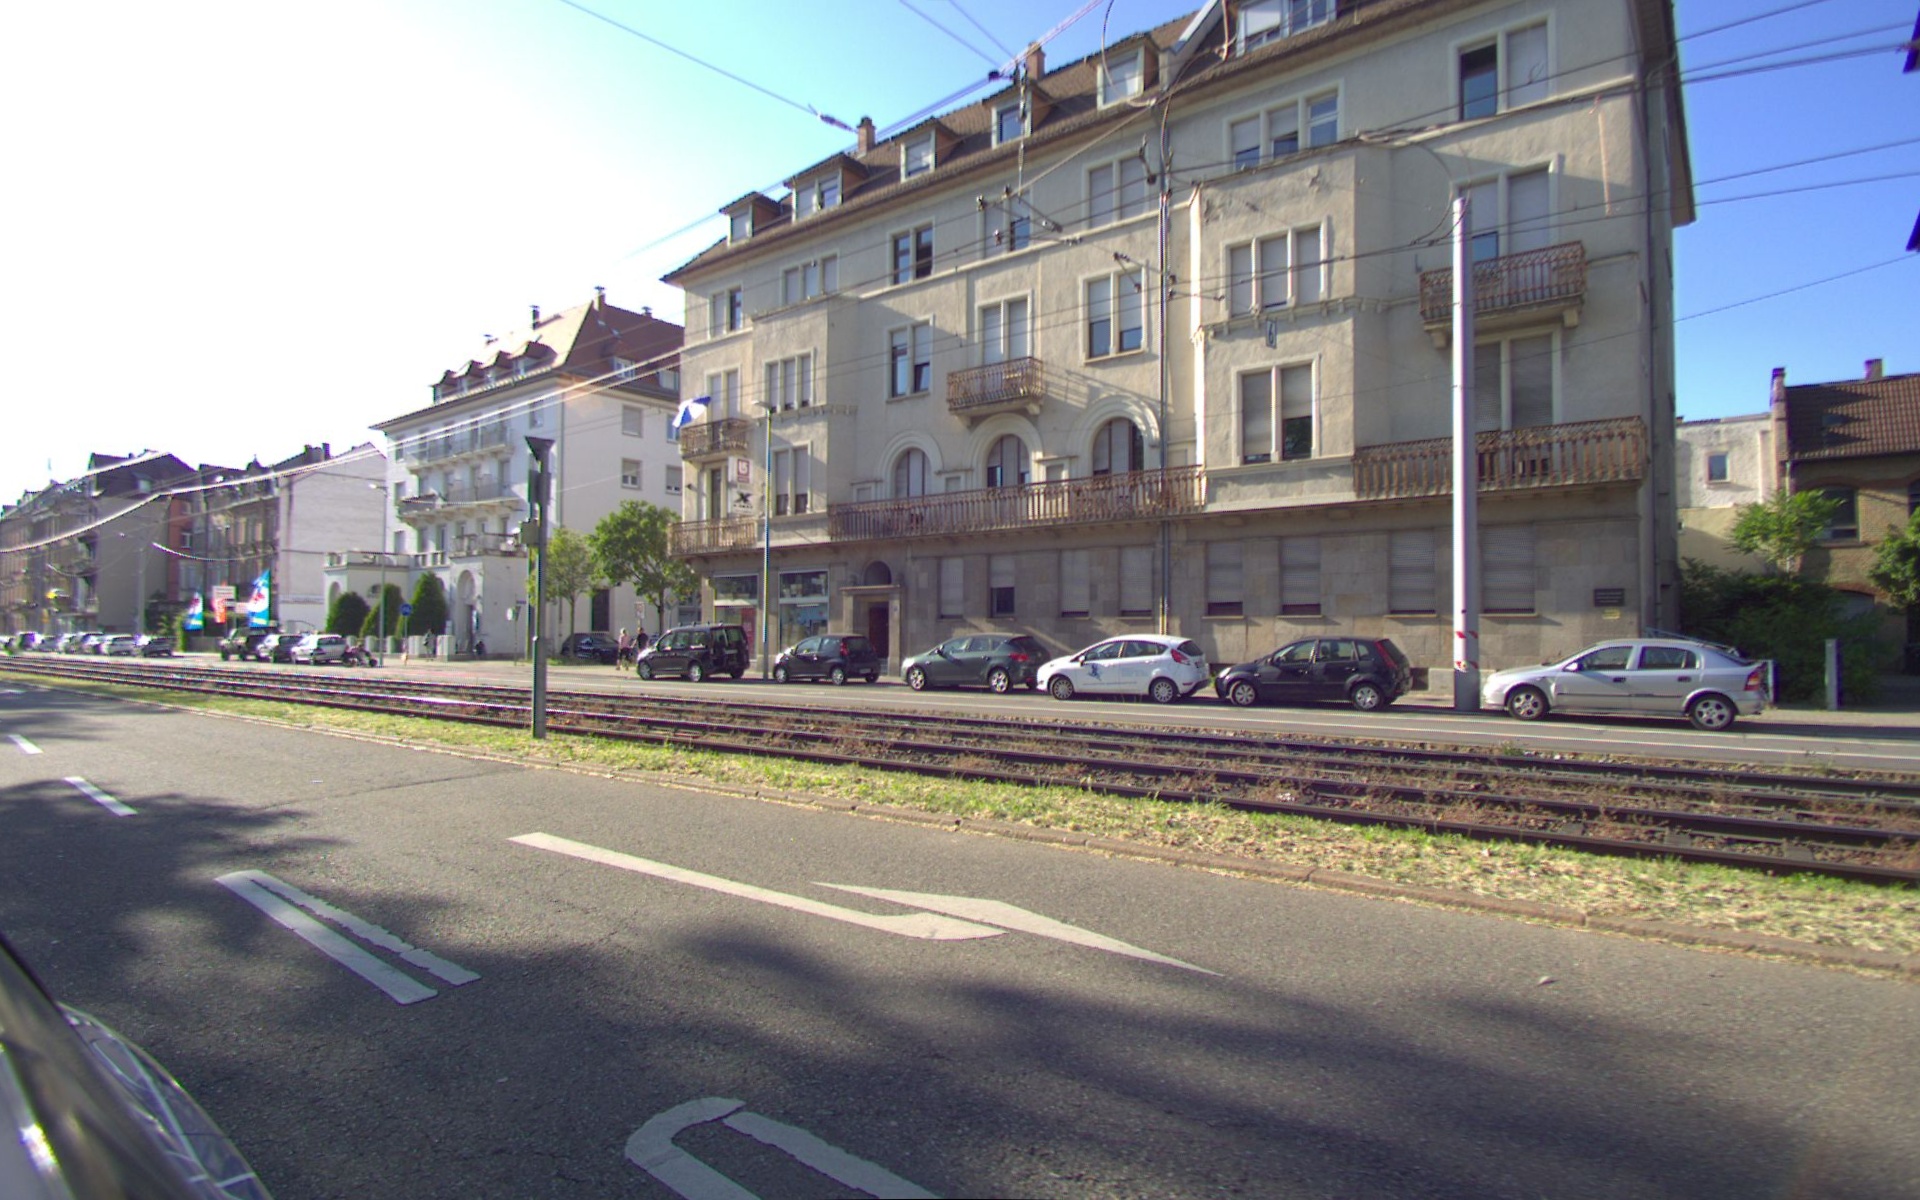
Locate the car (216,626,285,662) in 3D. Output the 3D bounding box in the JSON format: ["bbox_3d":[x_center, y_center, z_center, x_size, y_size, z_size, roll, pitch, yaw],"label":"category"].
[{"bbox_3d":[-42.552,2.605,60.658,5.588,2.025,2.056,-2,-1,40],"label":"car"}]

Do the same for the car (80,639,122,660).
[{"bbox_3d":[-69.762,4.023,82.179,4.839,1.572,1.901,-3,0,41],"label":"car"}]

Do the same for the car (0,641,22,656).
[{"bbox_3d":[-98.041,4.981,104.158,3.976,1.457,1.643,-2,-1,39],"label":"car"}]

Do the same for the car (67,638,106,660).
[{"bbox_3d":[-74.133,4.140,85.879,4.496,1.794,1.900,-2,-1,41],"label":"car"}]

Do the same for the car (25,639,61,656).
[{"bbox_3d":[-88.424,4.516,97.575,4.622,1.550,1.902,-2,-2,39],"label":"car"}]

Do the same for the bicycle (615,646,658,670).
[{"bbox_3d":[-14.535,2.576,45.398,2.411,1.023,0.677,-2,-1,41],"label":"bicycle"}]

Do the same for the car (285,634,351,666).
[{"bbox_3d":[-33.738,2.598,53.139,3.996,1.522,1.776,-1,0,40],"label":"car"}]

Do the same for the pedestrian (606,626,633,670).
[{"bbox_3d":[-13.447,1.887,39.945,0.852,1.709,0.586,-1,0,25],"label":"pedestrian"}]

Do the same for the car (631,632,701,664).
[{"bbox_3d":[-16.638,2.711,57.238,3.995,1.671,1.777,0,-2,38],"label":"car"}]

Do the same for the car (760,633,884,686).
[{"bbox_3d":[-4.133,1.743,30.141,3.503,1.401,1.612,-2,0,37],"label":"car"}]

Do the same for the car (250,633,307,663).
[{"bbox_3d":[-38.002,2.647,56.413,4.156,1.518,1.618,-1,0,41],"label":"car"}]

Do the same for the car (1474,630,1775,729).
[{"bbox_3d":[11.345,1.299,17.450,4.154,1.480,1.619,-2,-2,39],"label":"car"}]

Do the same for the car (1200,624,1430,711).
[{"bbox_3d":[7.219,1.334,20.737,4.148,1.479,1.622,-2,3,34],"label":"car"}]

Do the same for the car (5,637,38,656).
[{"bbox_3d":[-93.684,4.635,101.012,4.720,1.821,1.644,-2,-1,37],"label":"car"}]

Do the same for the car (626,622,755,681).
[{"bbox_3d":[-8.981,1.697,33.592,4.394,1.800,1.845,-2,-1,38],"label":"car"}]

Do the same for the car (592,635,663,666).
[{"bbox_3d":[-18.176,2.725,55.282,3.995,1.522,1.777,0,-2,38],"label":"car"}]

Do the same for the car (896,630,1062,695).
[{"bbox_3d":[0.437,1.558,26.226,4.153,1.480,1.620,-2,1,38],"label":"car"}]

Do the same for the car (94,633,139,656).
[{"bbox_3d":[-65.392,3.448,78.409,4.839,1.707,1.901,-2,-1,41],"label":"car"}]

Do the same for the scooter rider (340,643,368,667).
[{"bbox_3d":[-28.925,2.628,48.309,0.962,1.097,0.810,1,-3,-20],"label":"scooter rider"}]

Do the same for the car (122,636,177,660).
[{"bbox_3d":[-58.128,3.409,72.573,4.833,1.471,1.903,-2,2,37],"label":"car"}]

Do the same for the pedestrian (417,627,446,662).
[{"bbox_3d":[-27.696,2.318,53.021,0.929,1.791,0.987,-1,0,24],"label":"pedestrian"}]

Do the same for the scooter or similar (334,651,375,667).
[{"bbox_3d":[-28.888,2.822,48.317,1.542,0.776,0.810,1,-3,-20],"label":"scooter or similar"}]

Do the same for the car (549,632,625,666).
[{"bbox_3d":[-19.745,2.557,53.520,4.256,1.653,1.777,0,-2,38],"label":"car"}]

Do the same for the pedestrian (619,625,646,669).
[{"bbox_3d":[-13.106,1.884,40.546,0.852,1.709,0.586,-1,0,25],"label":"pedestrian"}]

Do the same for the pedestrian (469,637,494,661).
[{"bbox_3d":[-25.598,2.604,54.101,0.892,1.196,0.870,-1,0,31],"label":"pedestrian"}]

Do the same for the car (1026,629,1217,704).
[{"bbox_3d":[3.659,1.454,23.088,3.970,1.480,1.623,-1,1,32],"label":"car"}]
